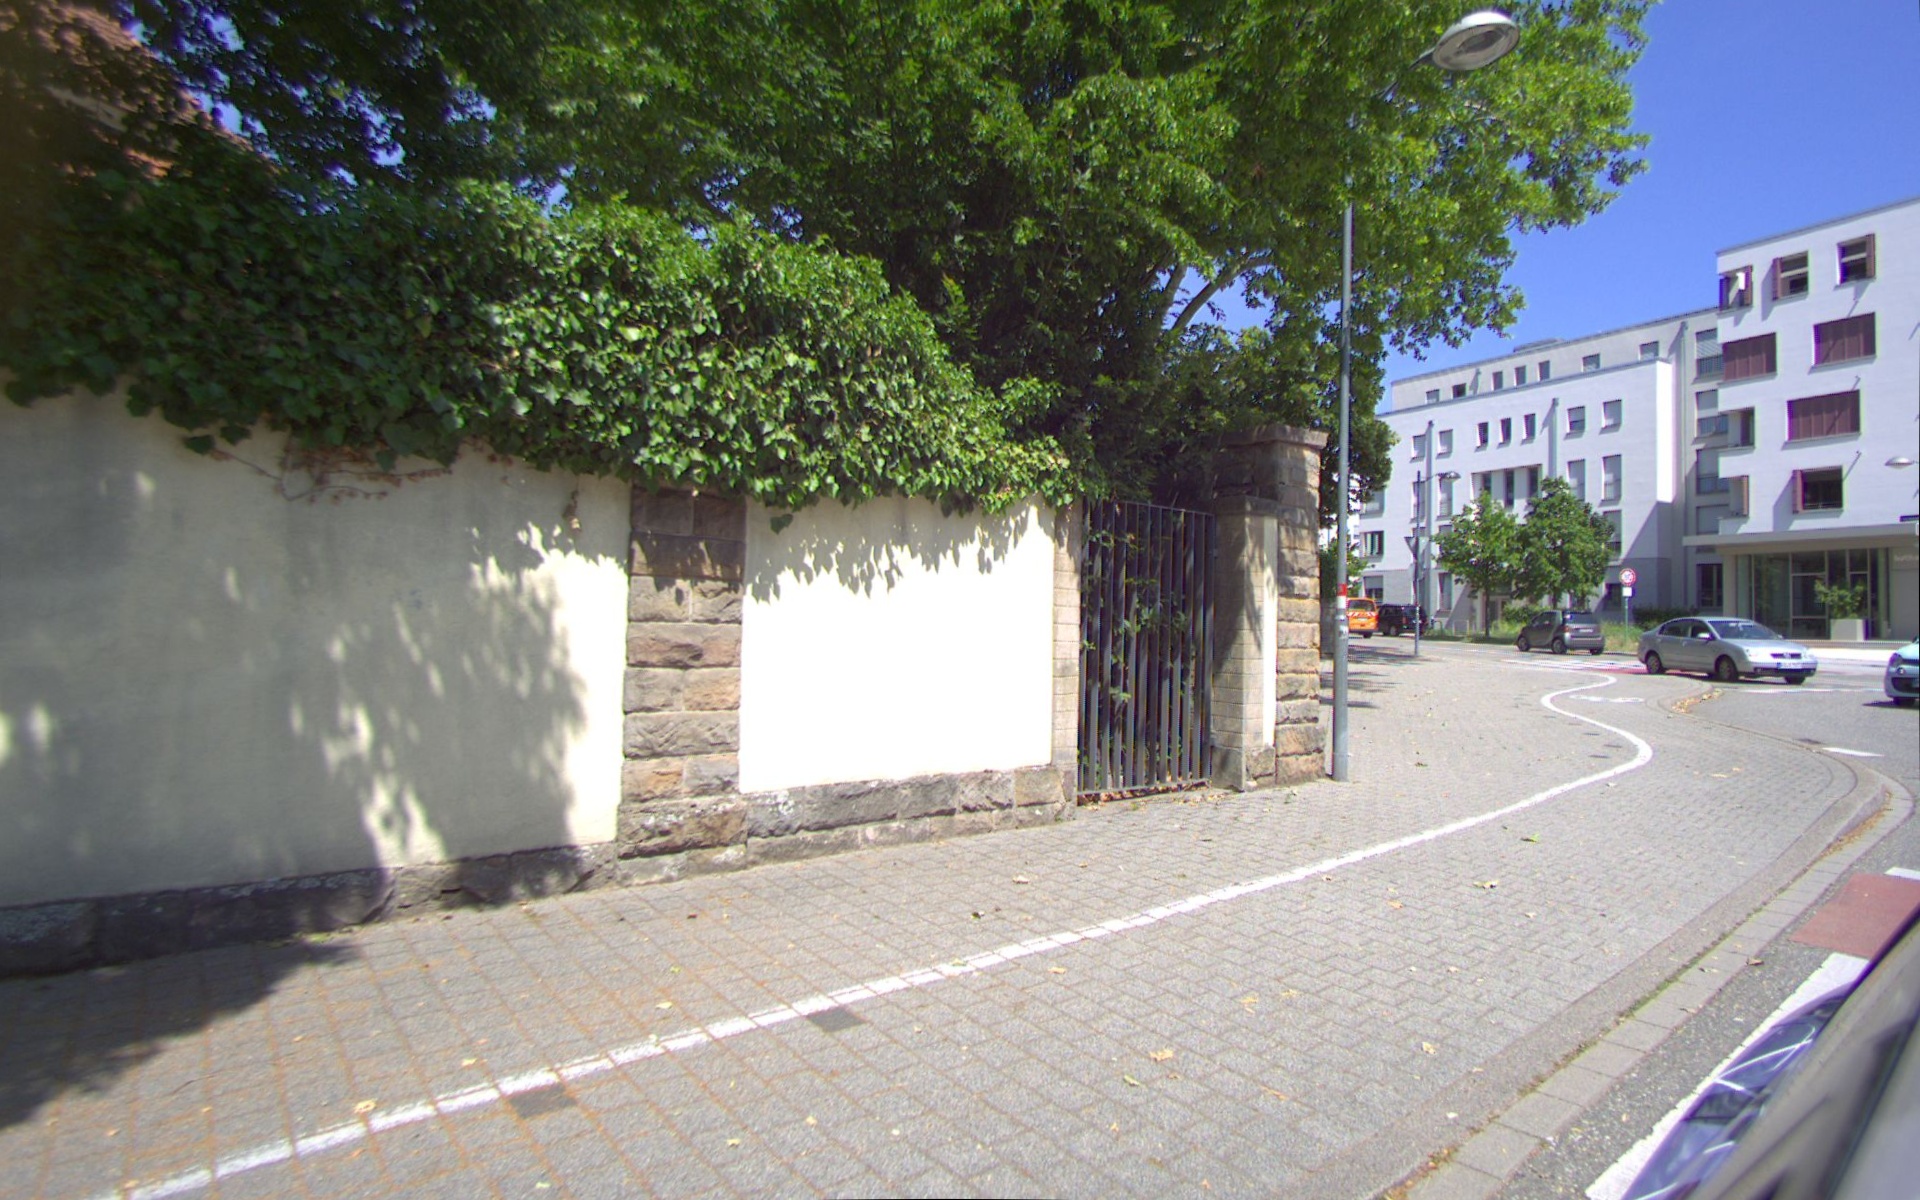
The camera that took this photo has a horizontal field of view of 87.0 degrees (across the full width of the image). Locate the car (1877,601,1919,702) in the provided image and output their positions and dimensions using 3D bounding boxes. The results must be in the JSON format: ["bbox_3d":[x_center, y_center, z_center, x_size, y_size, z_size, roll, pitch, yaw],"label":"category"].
[{"bbox_3d":[16.778,0.738,15.820,4.075,1.545,1.663,-1,-1,-16],"label":"car"}]

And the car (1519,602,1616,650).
[{"bbox_3d":[21.089,0.880,35.259,1.539,1.549,2.791,1,0,-4],"label":"car"}]

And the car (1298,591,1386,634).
[{"bbox_3d":[18.890,0.573,50.337,1.910,1.984,5.029,0,1,-8],"label":"car"}]

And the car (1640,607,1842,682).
[{"bbox_3d":[17.726,0.943,23.236,1.579,1.470,3.998,1,0,2],"label":"car"}]

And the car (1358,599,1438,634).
[{"bbox_3d":[22.327,0.814,51.775,1.664,1.658,4.029,1,0,-12],"label":"car"}]
